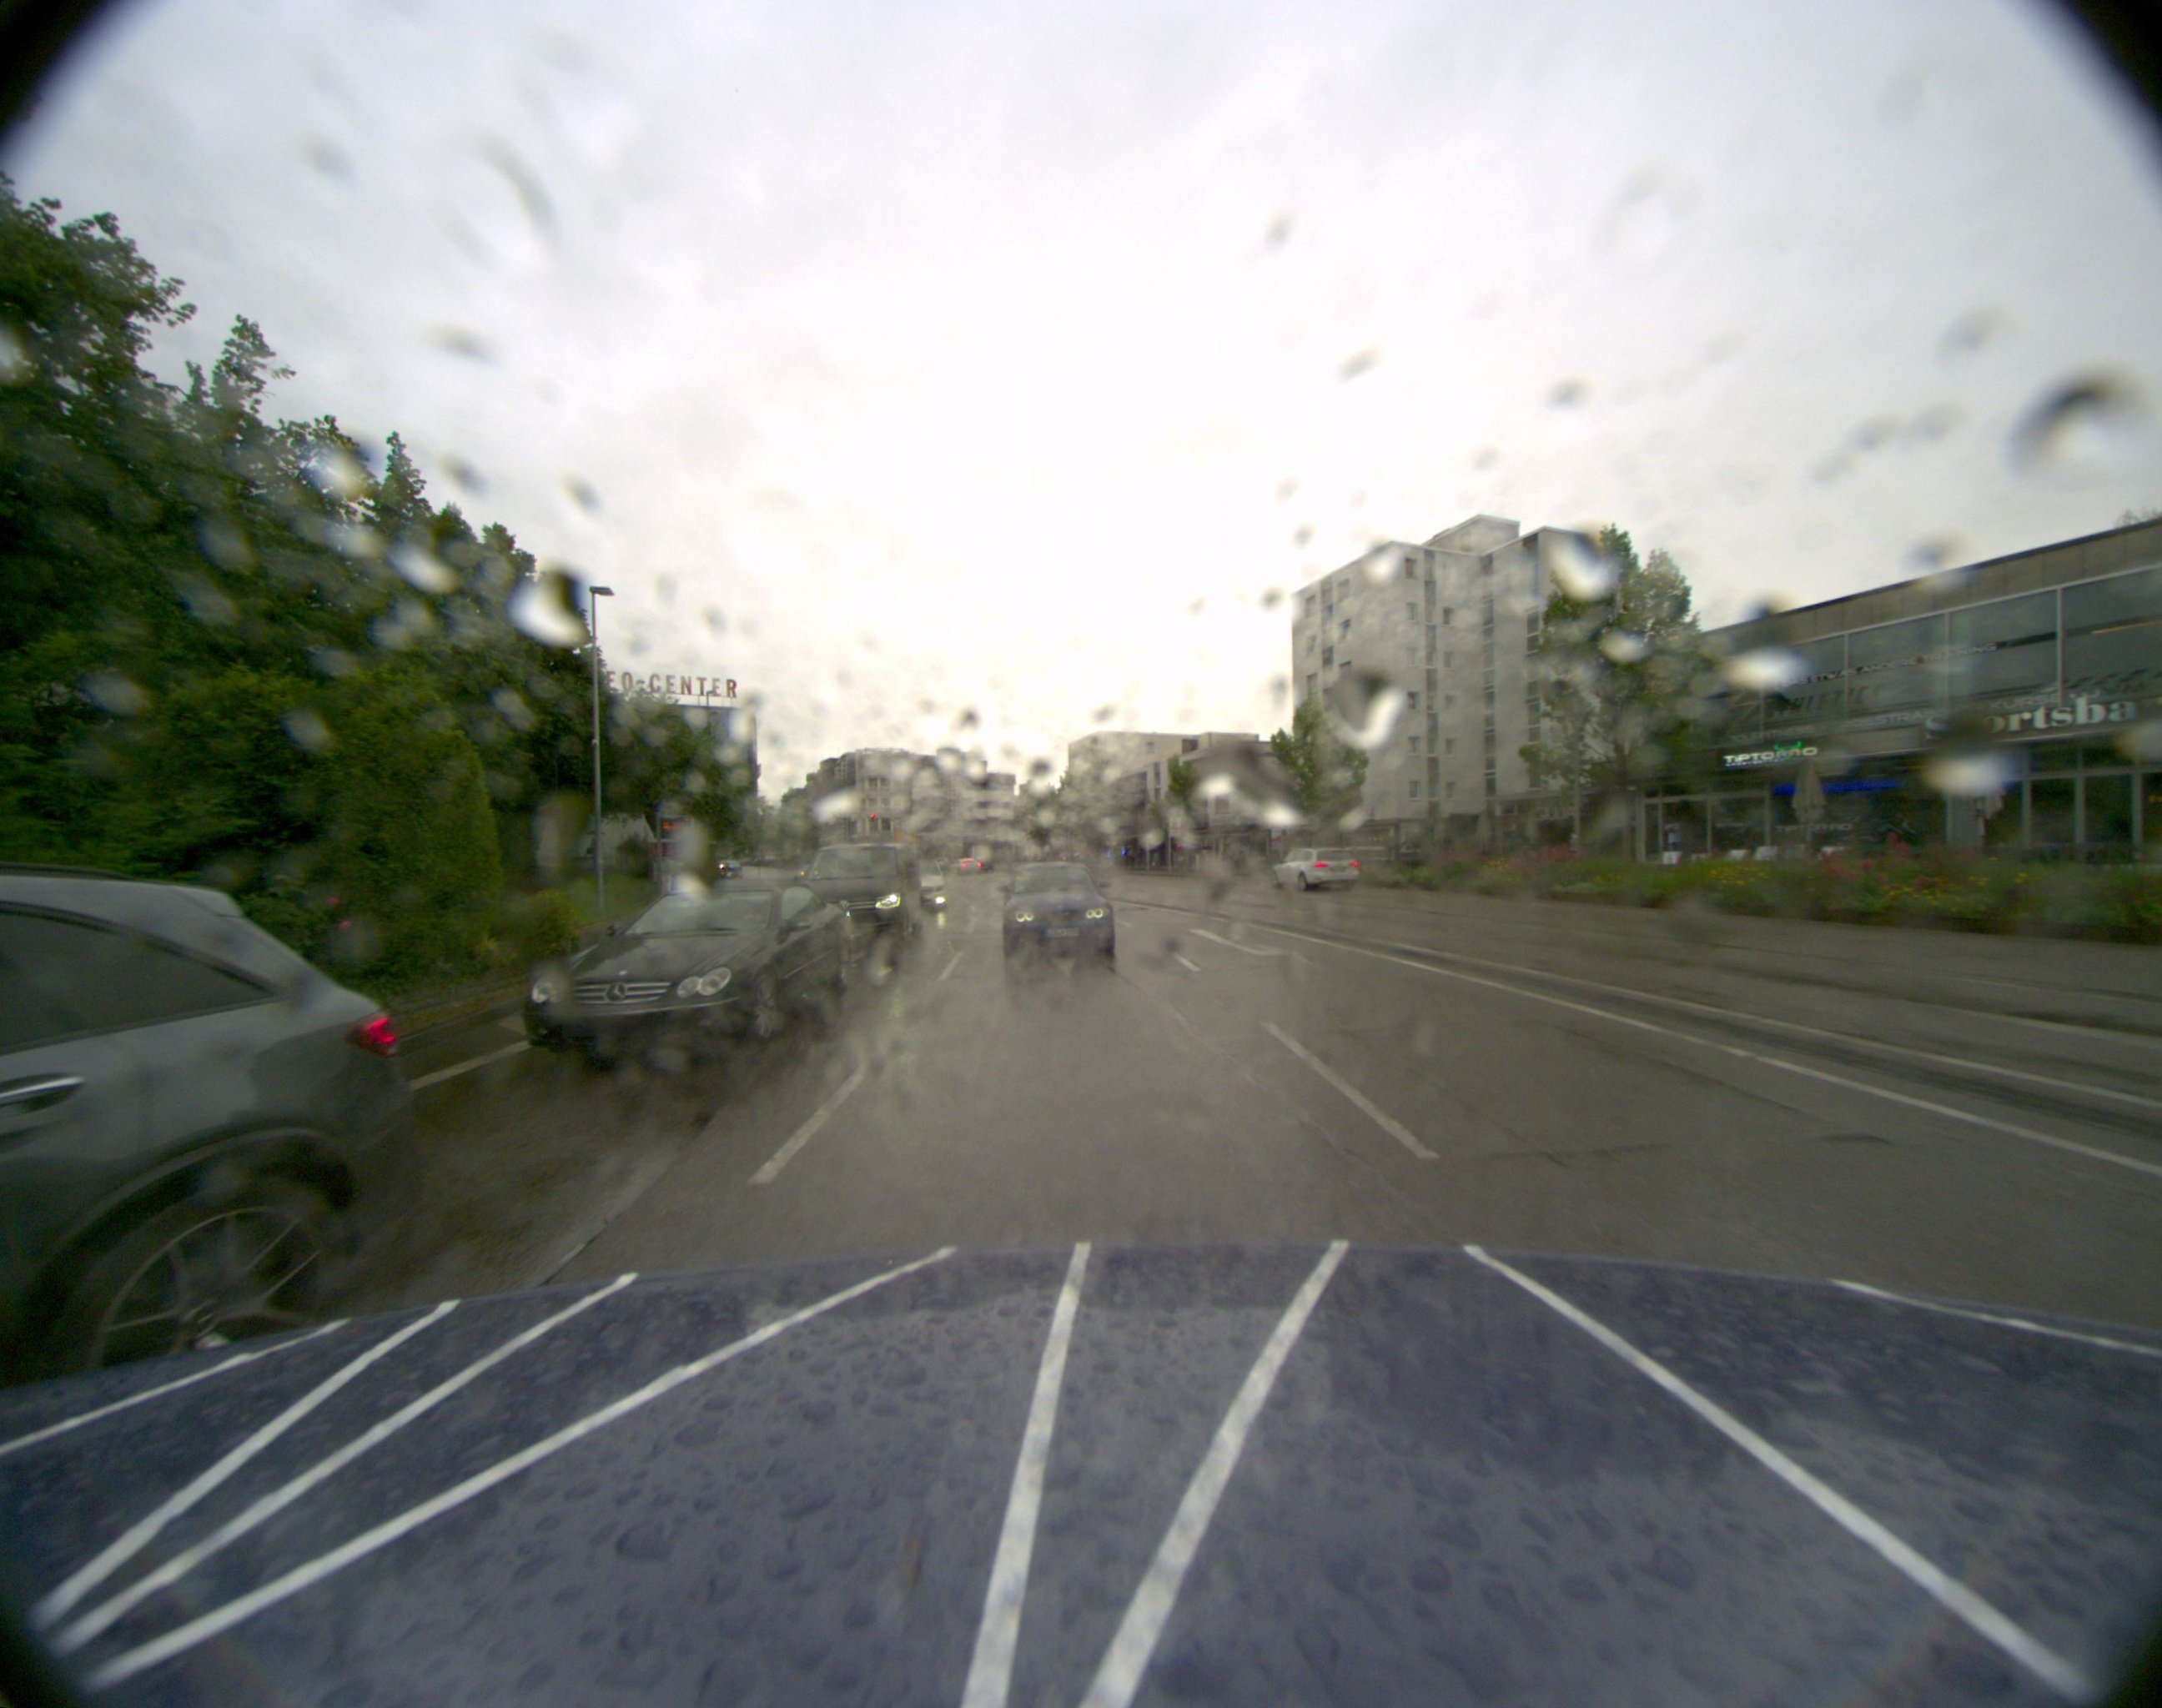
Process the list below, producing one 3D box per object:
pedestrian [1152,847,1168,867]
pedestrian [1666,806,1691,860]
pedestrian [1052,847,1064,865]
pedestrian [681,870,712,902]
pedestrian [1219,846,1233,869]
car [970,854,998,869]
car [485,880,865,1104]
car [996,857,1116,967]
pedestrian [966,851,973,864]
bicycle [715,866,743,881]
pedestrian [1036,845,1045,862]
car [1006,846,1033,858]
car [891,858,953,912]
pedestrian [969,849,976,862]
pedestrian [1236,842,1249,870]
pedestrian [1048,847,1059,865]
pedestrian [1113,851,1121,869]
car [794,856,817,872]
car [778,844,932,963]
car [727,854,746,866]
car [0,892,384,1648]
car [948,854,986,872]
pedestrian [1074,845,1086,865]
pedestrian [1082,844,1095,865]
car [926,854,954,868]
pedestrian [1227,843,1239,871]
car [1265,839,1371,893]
[{"bbox_3d":[6.493,0.261,62.532,1.011,1.636,0.725,-2,1,-21],"label":"pedestrian"},{"bbox_3d":[20.499,-0.722,26.055,0.427,1.837,0.501,-2,1,-10],"label":"pedestrian"},{"bbox_3d":[-2.537,0.226,83.239,0.907,1.904,0.976,-2,1,-21],"label":"pedestrian"},{"bbox_3d":[-15.431,1.267,30.488,1.034,1.274,0.691,1,0,-22],"label":"pedestrian"},{"bbox_3d":[9.308,0.226,48.722,0.538,1.496,0.613,-3,1,-44],"label":"pedestrian"},{"bbox_3d":[-9.243,0.725,72.169,1.765,1.418,3.993,-2,0,-21],"label":"car"},{"bbox_3d":[-3.571,1.071,7.767,1.636,1.378,4.513,-2,0,-4],"label":"car"},{"bbox_3d":[-0.353,0.852,12.970,1.676,1.534,3.913,-2,0,0],"label":"car"},{"bbox_3d":[-14.951,0.422,102.136,0.839,1.733,0.584,-3,2,-15],"label":"pedestrian"},{"bbox_3d":[-26.535,1.457,57.334,1.838,1.104,0.693,-1,1,-23],"label":"bicycle"},{"bbox_3d":[-5.077,-0.069,95.153,0.761,2.002,0.862,-2,1,-22],"label":"pedestrian"},{"bbox_3d":[-9.843,-0.297,121.951,3.903,1.710,1.742,-2,1,-39],"label":"car"},{"bbox_3d":[-5.135,0.940,24.848,1.763,1.540,4.322,-2,0,-10],"label":"car"},{"bbox_3d":[-14.790,0.217,103.559,0.683,1.733,0.585,-2,2,5],"label":"pedestrian"},{"bbox_3d":[9.881,0.118,46.508,0.537,1.649,0.479,-2,1,-15],"label":"pedestrian"},{"bbox_3d":[-3.018,0.251,82.910,0.906,1.904,0.976,-2,1,-15],"label":"pedestrian"},{"bbox_3d":[3.497,0.586,73.964,0.550,1.740,0.679,-2,1,-19],"label":"pedestrian"},{"bbox_3d":[-28.174,1.027,77.550,1.740,1.587,3.991,-2,1,-26],"label":"car"},{"bbox_3d":[-4.186,0.782,14.887,2.002,1.883,4.584,-2,1,-6],"label":"car"},{"bbox_3d":[-48.524,0.860,106.932,1.904,1.517,3.990,-2,1,-31],"label":"car"},{"bbox_3d":[-3.344,0.981,0.403,1.906,1.611,4.334,-2,0,-1],"label":"car"},{"bbox_3d":[-10.001,0.763,66.315,1.850,1.452,4.798,-2,1,-26],"label":"car"},{"bbox_3d":[-0.088,0.074,76.053,0.907,2.002,0.976,-2,1,-21],"label":"pedestrian"},{"bbox_3d":[0.741,0.053,76.146,0.907,2.002,0.976,-2,1,-21],"label":"pedestrian"},{"bbox_3d":[-15.746,0.748,84.531,1.708,1.457,4.093,-1,0,-31],"label":"car"},{"bbox_3d":[9.268,0.178,46.445,0.480,1.649,0.536,-2,1,-20],"label":"pedestrian"},{"bbox_3d":[8.301,0.375,27.108,1.891,1.672,4.502,-2,1,-7],"label":"car"}]
